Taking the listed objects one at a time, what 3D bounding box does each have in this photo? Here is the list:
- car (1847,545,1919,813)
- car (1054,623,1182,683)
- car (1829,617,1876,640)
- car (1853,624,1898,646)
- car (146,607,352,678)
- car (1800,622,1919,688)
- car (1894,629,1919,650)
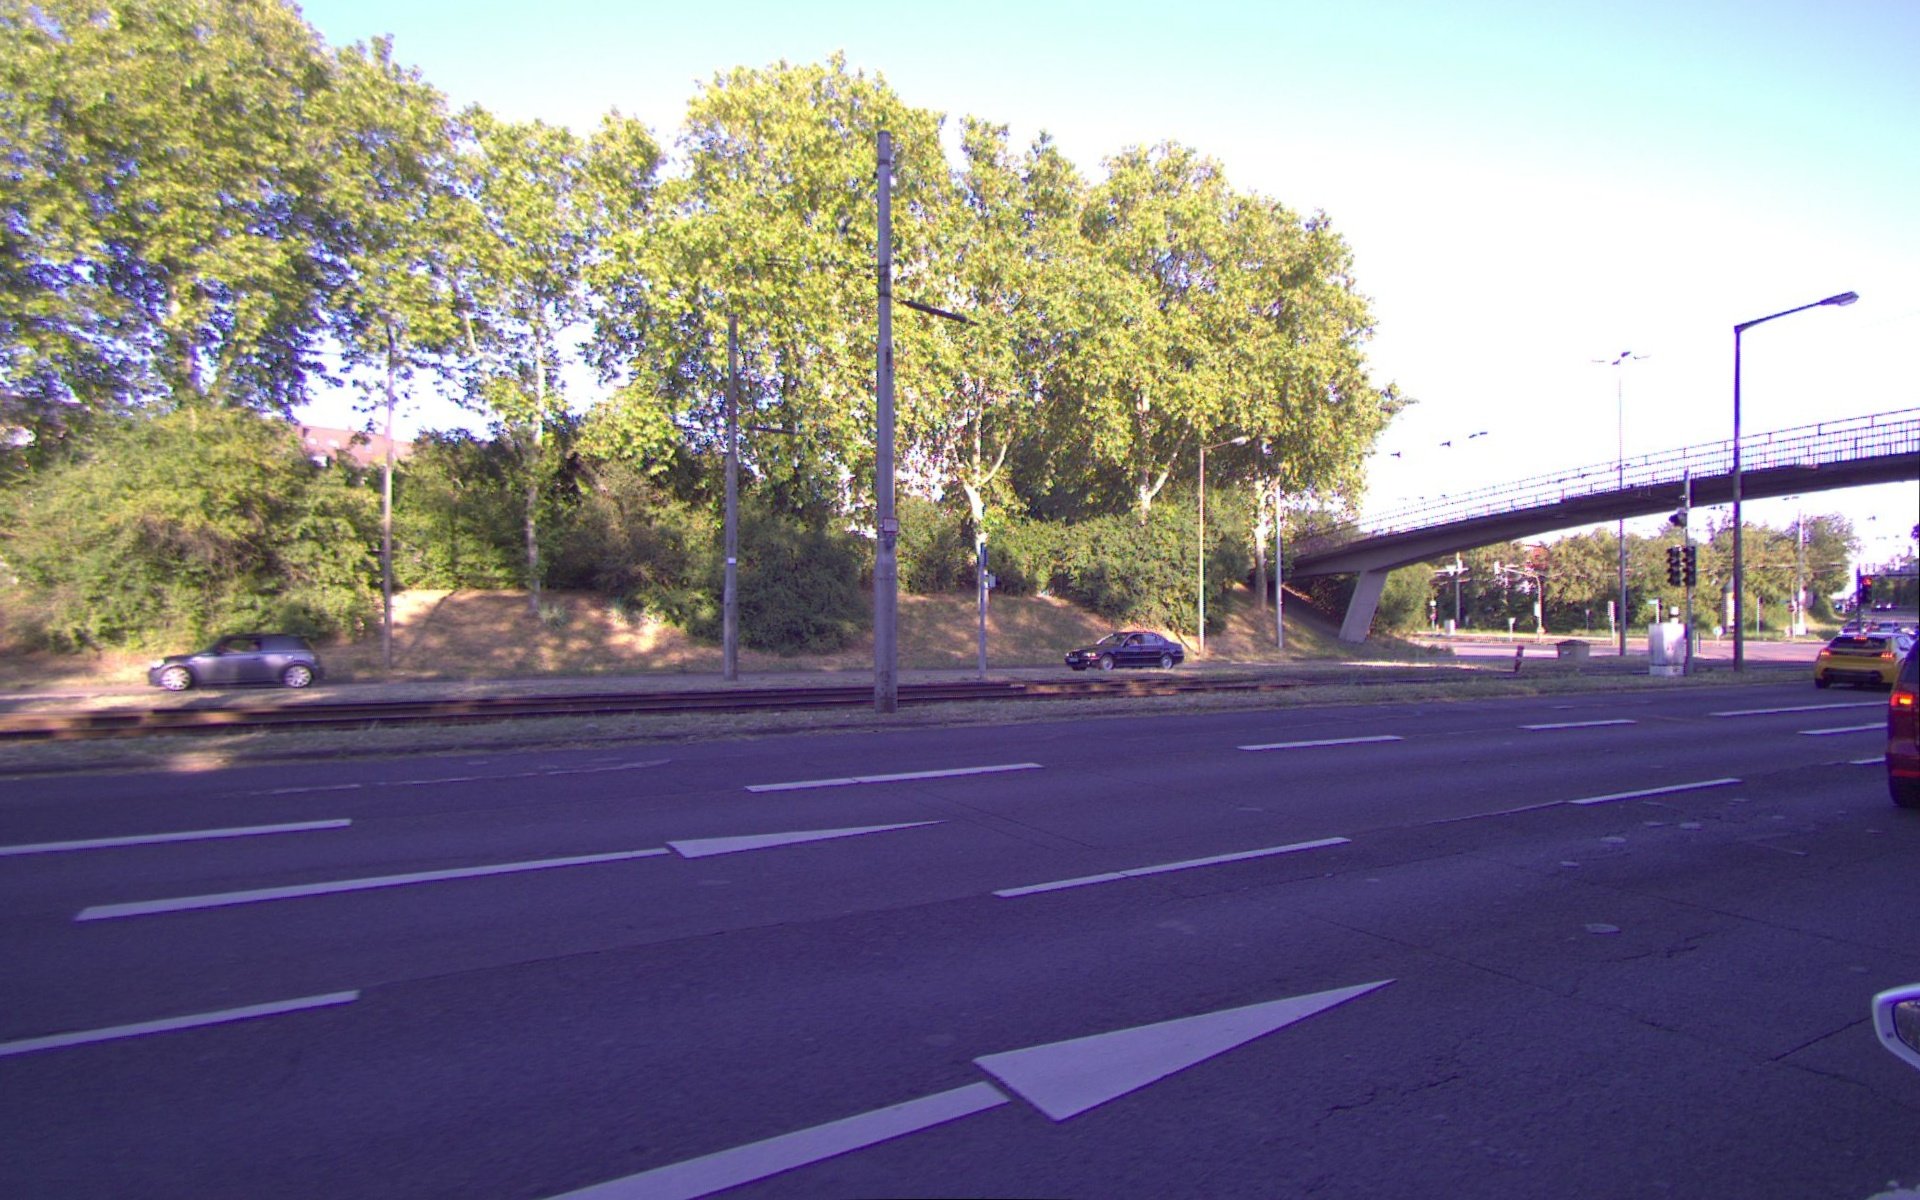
[{"bbox_3d":[9.577,0.650,8.641,3.954,2.133,1.784,1,-2,-31],"label":"car"},{"bbox_3d":[5.714,1.880,36.175,4.466,2.040,1.908,1,-2,-34],"label":"car"},{"bbox_3d":[74.286,2.392,83.557,3.956,1.795,1.868,1,1,-32],"label":"car"},{"bbox_3d":[80.091,3.020,87.859,3.956,1.795,1.868,1,1,-32],"label":"car"},{"bbox_3d":[-18.156,1.102,25.941,4.143,1.703,1.984,2,-2,-31],"label":"car"},{"bbox_3d":[23.643,1.385,26.020,3.953,1.586,1.655,1,-2,-31],"label":"car"},{"bbox_3d":[78.106,3.198,81.949,3.634,1.596,1.868,1,1,-32],"label":"car"}]
